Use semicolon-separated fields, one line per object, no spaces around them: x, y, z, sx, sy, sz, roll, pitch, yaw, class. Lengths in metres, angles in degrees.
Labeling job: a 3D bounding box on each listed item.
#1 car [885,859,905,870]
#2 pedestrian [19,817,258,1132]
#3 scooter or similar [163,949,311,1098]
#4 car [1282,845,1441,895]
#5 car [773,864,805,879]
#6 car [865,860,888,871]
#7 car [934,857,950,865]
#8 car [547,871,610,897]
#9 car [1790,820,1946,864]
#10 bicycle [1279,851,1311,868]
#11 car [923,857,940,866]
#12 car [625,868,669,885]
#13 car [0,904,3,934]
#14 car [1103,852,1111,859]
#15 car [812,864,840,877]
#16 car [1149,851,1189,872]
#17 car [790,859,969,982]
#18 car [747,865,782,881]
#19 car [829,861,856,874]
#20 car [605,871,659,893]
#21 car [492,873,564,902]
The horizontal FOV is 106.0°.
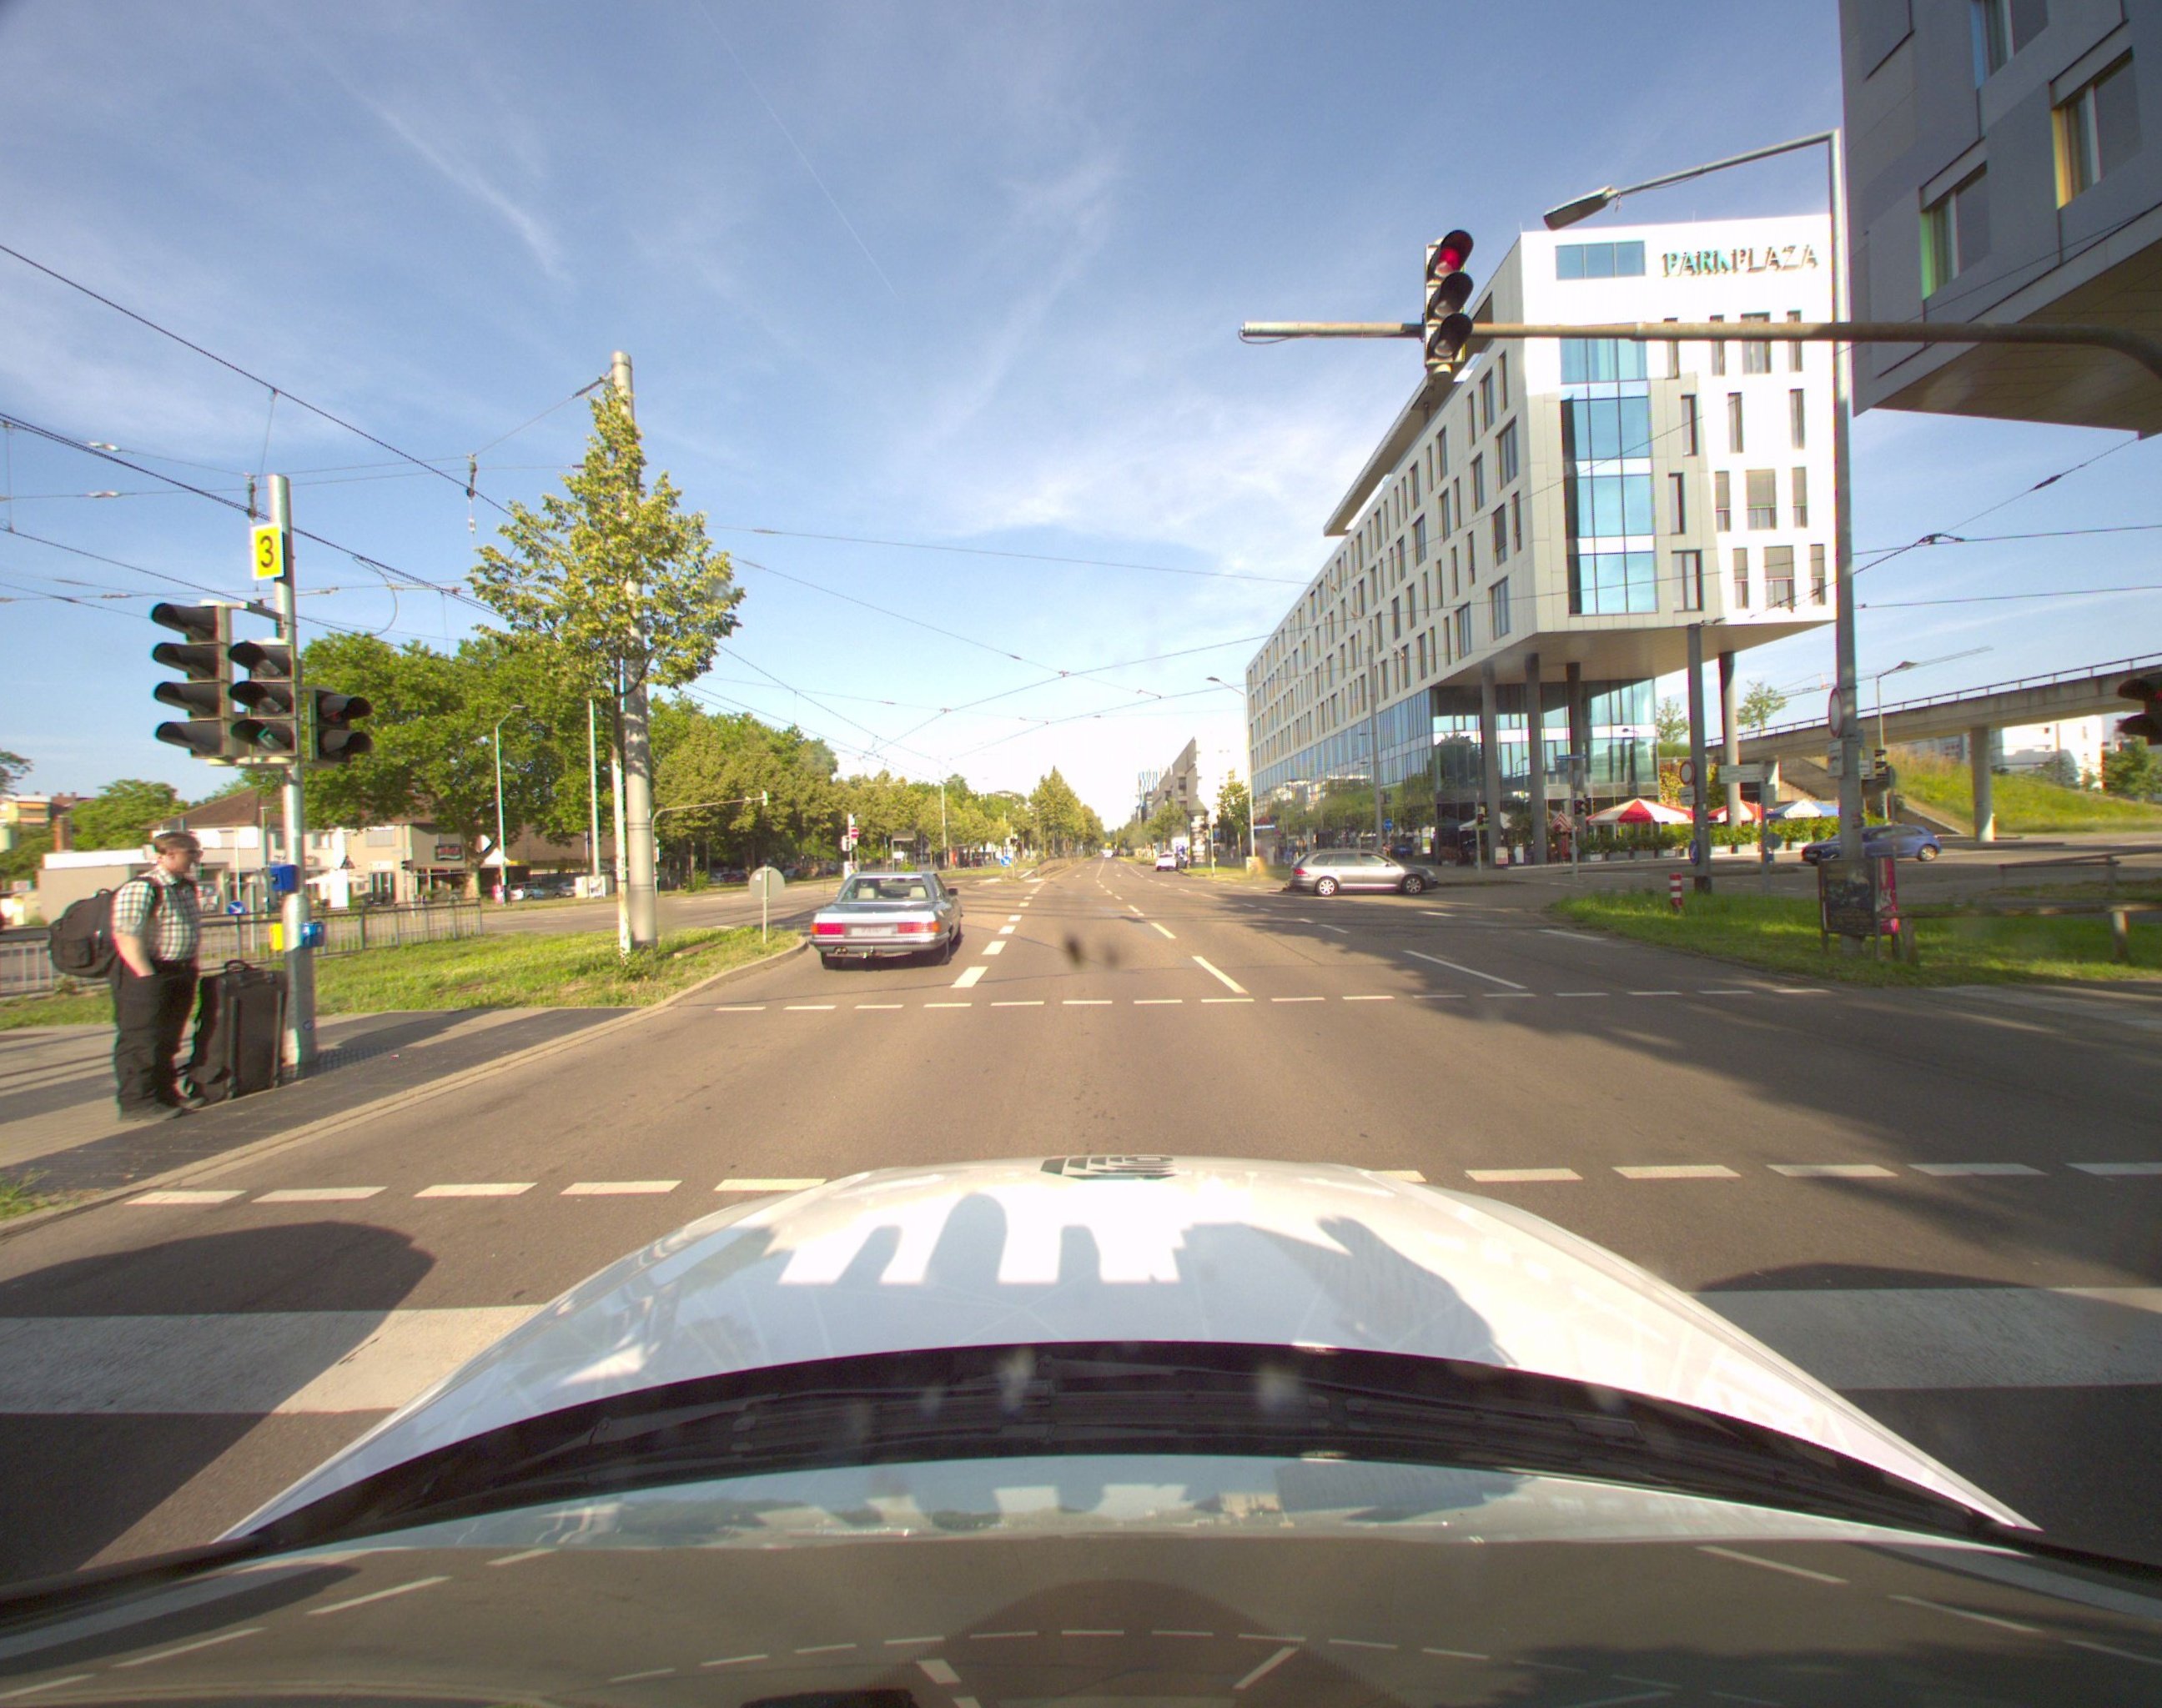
-29.702;1.651;130.022;1.871;1.559;4.008;-3;0;7;car
-5.702;0.687;4.966;0.697;1.792;0.636;-1;0;2;pedestrian
-5.678;1.123;5.497;0.546;0.907;0.430;1;0;2;scooter or similar
8.741;0.510;25.736;4.531;1.461;1.739;-1;-1;10;car
-34.058;2.065;95.164;1.871;1.559;4.008;-3;0;7;car
-30.667;1.738;122.117;1.871;1.559;4.008;-3;0;7;car
-26.790;1.342;156.820;1.871;1.559;4.008;-3;0;7;car
-37.713;2.243;61.206;1.871;1.750;4.008;-2;0;7;car
30.230;-0.459;31.382;4.170;1.424;1.859;-3;0;1;car
13.873;0.337;52.814;0.778;1.032;1.856;-2;2;-42;bicycle
-27.541;1.409;150.409;1.871;1.559;4.008;-3;0;7;car
-43.783;2.219;82.165;1.871;1.559;4.008;-3;0;7;car
-63.533;3.789;45.646;3.964;1.728;2.005;-2;0;8;car
6.779;0.376;210.435;1.857;1.684;4.003;0;1;2;car
-32.770;2.091;104.593;1.871;1.559;4.008;-3;0;7;car
7.189;0.579;66.010;1.976;1.504;4.115;-5;-2;23;car
-2.712;0.813;11.981;1.760;1.330;4.393;-3;0;-4;car
-34.748;2.040;89.604;1.871;1.559;4.008;-3;0;7;car
-32.100;1.781;109.661;1.871;1.559;4.008;-3;0;7;car
-37.023;2.274;67.248;1.871;1.559;4.008;-3;0;7;car
-38.231;2.293;56.455;1.871;1.750;4.008;-2;0;7;car
